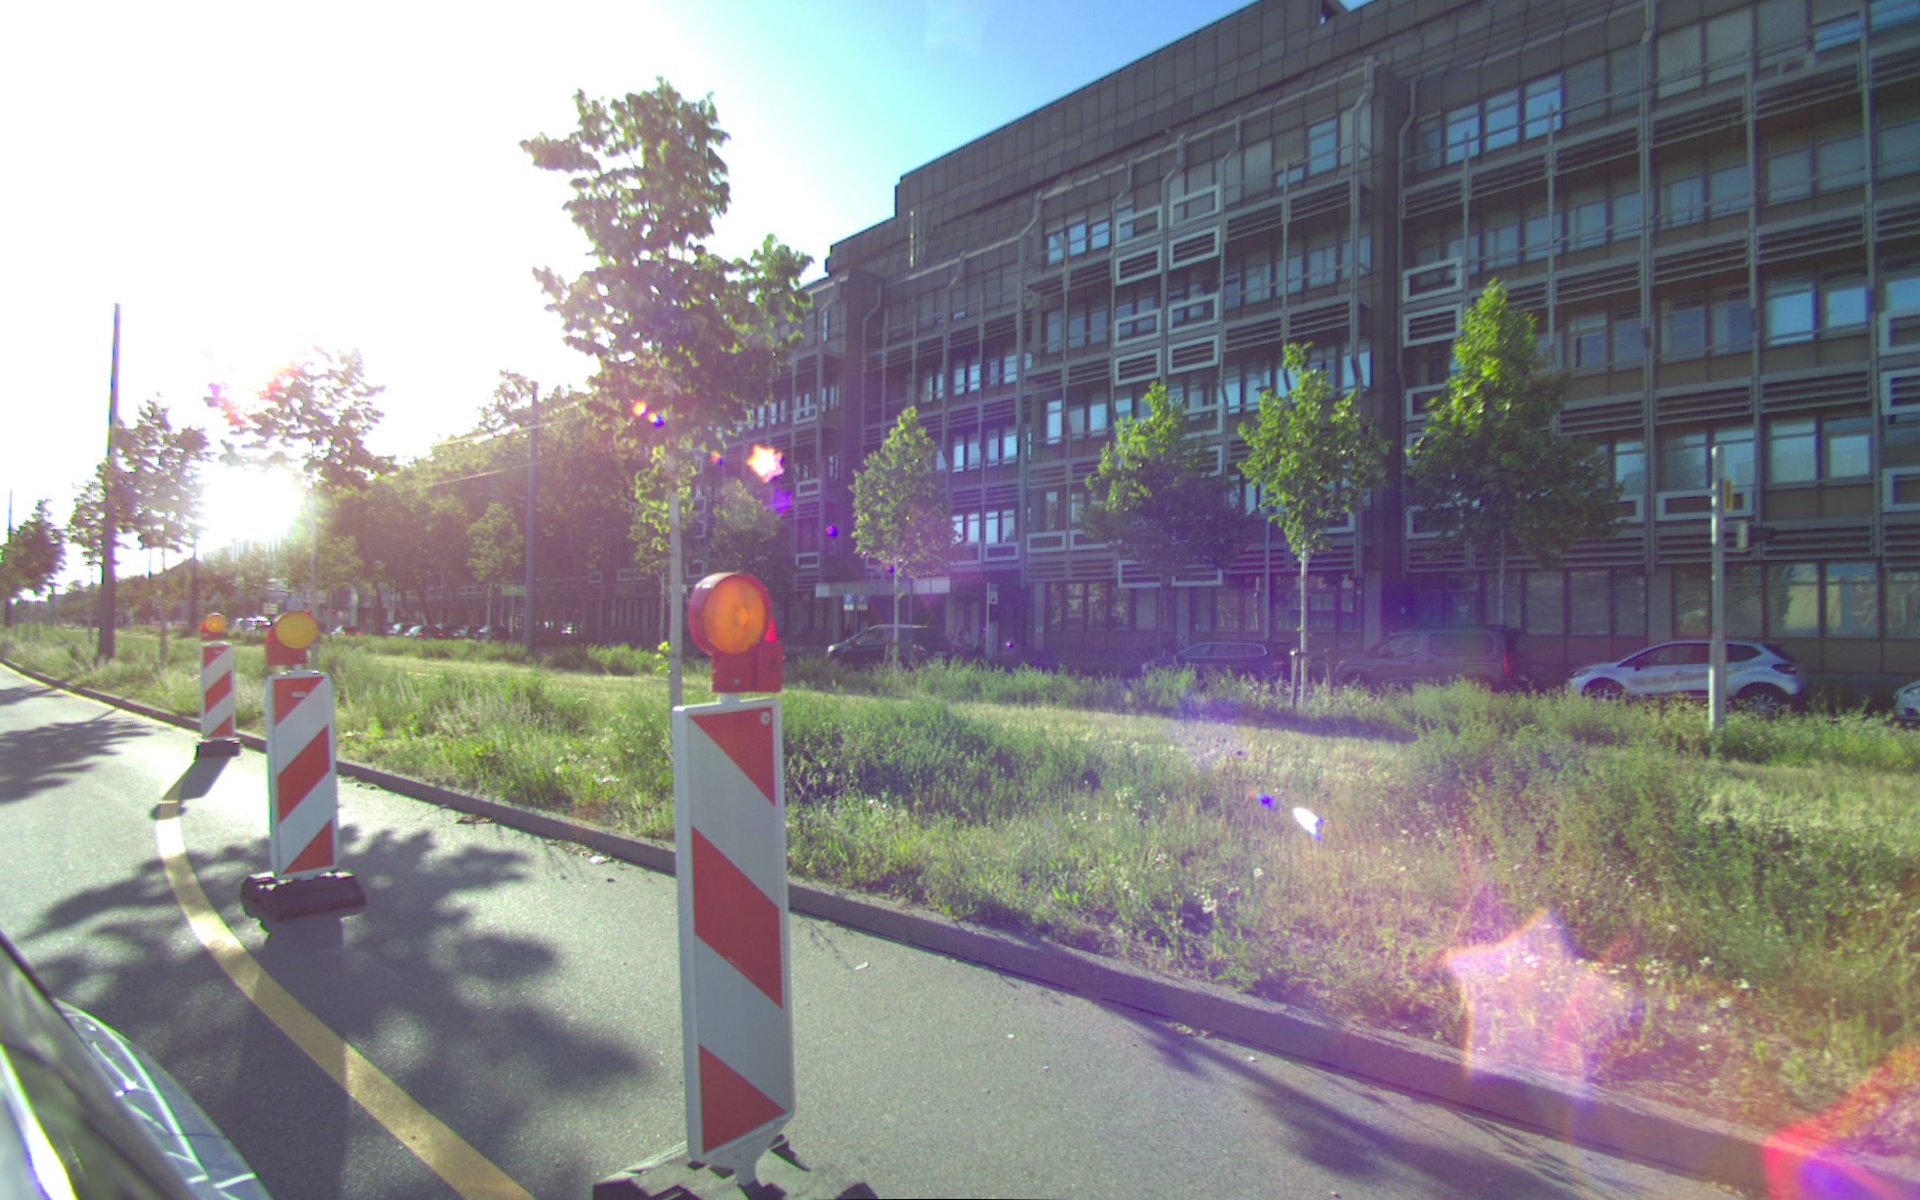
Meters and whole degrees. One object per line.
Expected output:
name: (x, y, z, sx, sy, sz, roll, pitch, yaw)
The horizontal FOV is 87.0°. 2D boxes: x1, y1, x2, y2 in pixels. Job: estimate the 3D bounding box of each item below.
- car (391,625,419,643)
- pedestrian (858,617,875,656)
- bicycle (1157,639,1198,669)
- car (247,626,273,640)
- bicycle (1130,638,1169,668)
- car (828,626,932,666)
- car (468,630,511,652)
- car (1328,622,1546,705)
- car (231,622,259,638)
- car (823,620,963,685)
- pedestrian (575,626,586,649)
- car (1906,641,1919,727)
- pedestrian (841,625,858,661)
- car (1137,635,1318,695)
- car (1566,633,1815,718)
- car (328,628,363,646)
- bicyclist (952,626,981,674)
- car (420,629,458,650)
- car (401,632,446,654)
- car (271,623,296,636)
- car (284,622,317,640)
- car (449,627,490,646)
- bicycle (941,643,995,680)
car: (-50.006, 3.045, 91.163, 3.267, 1.614, 1.371, -1, -1, 44)
pedestrian: (-4.195, 1.659, 45.407, 0.514, 1.735, 0.537, 3, -3, -42)
bicycle: (8.063, 2.000, 37.420, 1.905, 1.080, 0.425, 3, -4, -41)
car: (-69.678, 3.300, 100.688, 1.533, 1.390, 3.782, 3, -3, -44)
bicycle: (7.181, 2.010, 38.282, 1.851, 1.080, 0.425, 3, -4, -41)
car: (-3.048, 1.694, 37.942, 4.041, 1.397, 1.696, -1, -2, 45)
car: (-34.892, 3.014, 74.996, 3.632, 1.556, 1.702, -1, -1, 44)
car: (11.178, 1.432, 23.927, 4.332, 1.785, 1.731, -2, -2, 44)
car: (-76.400, 3.186, 108.124, 1.839, 1.694, 3.782, 3, -3, -44)
car: (-1.998, 1.486, 29.417, 4.120, 1.760, 1.709, -1, -2, 42)
pedestrian: (-28.821, 2.836, 76.882, 0.476, 1.763, 0.639, 3, -3, -44)
car: (18.479, 1.453, 16.944, 3.820, 1.452, 1.606, -1, -2, 44)
pedestrian: (-4.893, 1.912, 44.950, 0.514, 1.590, 0.537, 3, -3, -42)
car: (7.237, 1.711, 27.687, 4.504, 1.480, 1.710, -2, -1, 43)
car: (14.745, 1.445, 20.558, 3.885, 1.548, 1.718, -2, -2, 44)
car: (-53.138, 3.197, 87.501, 1.608, 1.507, 4.420, 3, -3, -44)
bicyclist: (0.206, 1.559, 31.442, 0.706, 1.468, 0.559, -2, -4, 43)
car: (-42.949, 3.251, 83.412, 3.632, 1.614, 1.702, 0, 0, 44)
car: (-37.336, 2.971, 70.418, 1.696, 1.397, 4.042, 0, -1, -44)
car: (-71.619, 3.141, 107.067, 1.533, 1.390, 3.782, 3, -3, -44)
car: (-55.917, 2.647, 85.755, 1.608, 1.507, 3.782, 3, -3, -44)
car: (-38.614, 2.841, 79.611, 3.631, 1.497, 1.703, -1, -2, 43)
bicycle: (0.246, 1.910, 31.386, 1.771, 1.105, 0.559, -2, -4, 43)
